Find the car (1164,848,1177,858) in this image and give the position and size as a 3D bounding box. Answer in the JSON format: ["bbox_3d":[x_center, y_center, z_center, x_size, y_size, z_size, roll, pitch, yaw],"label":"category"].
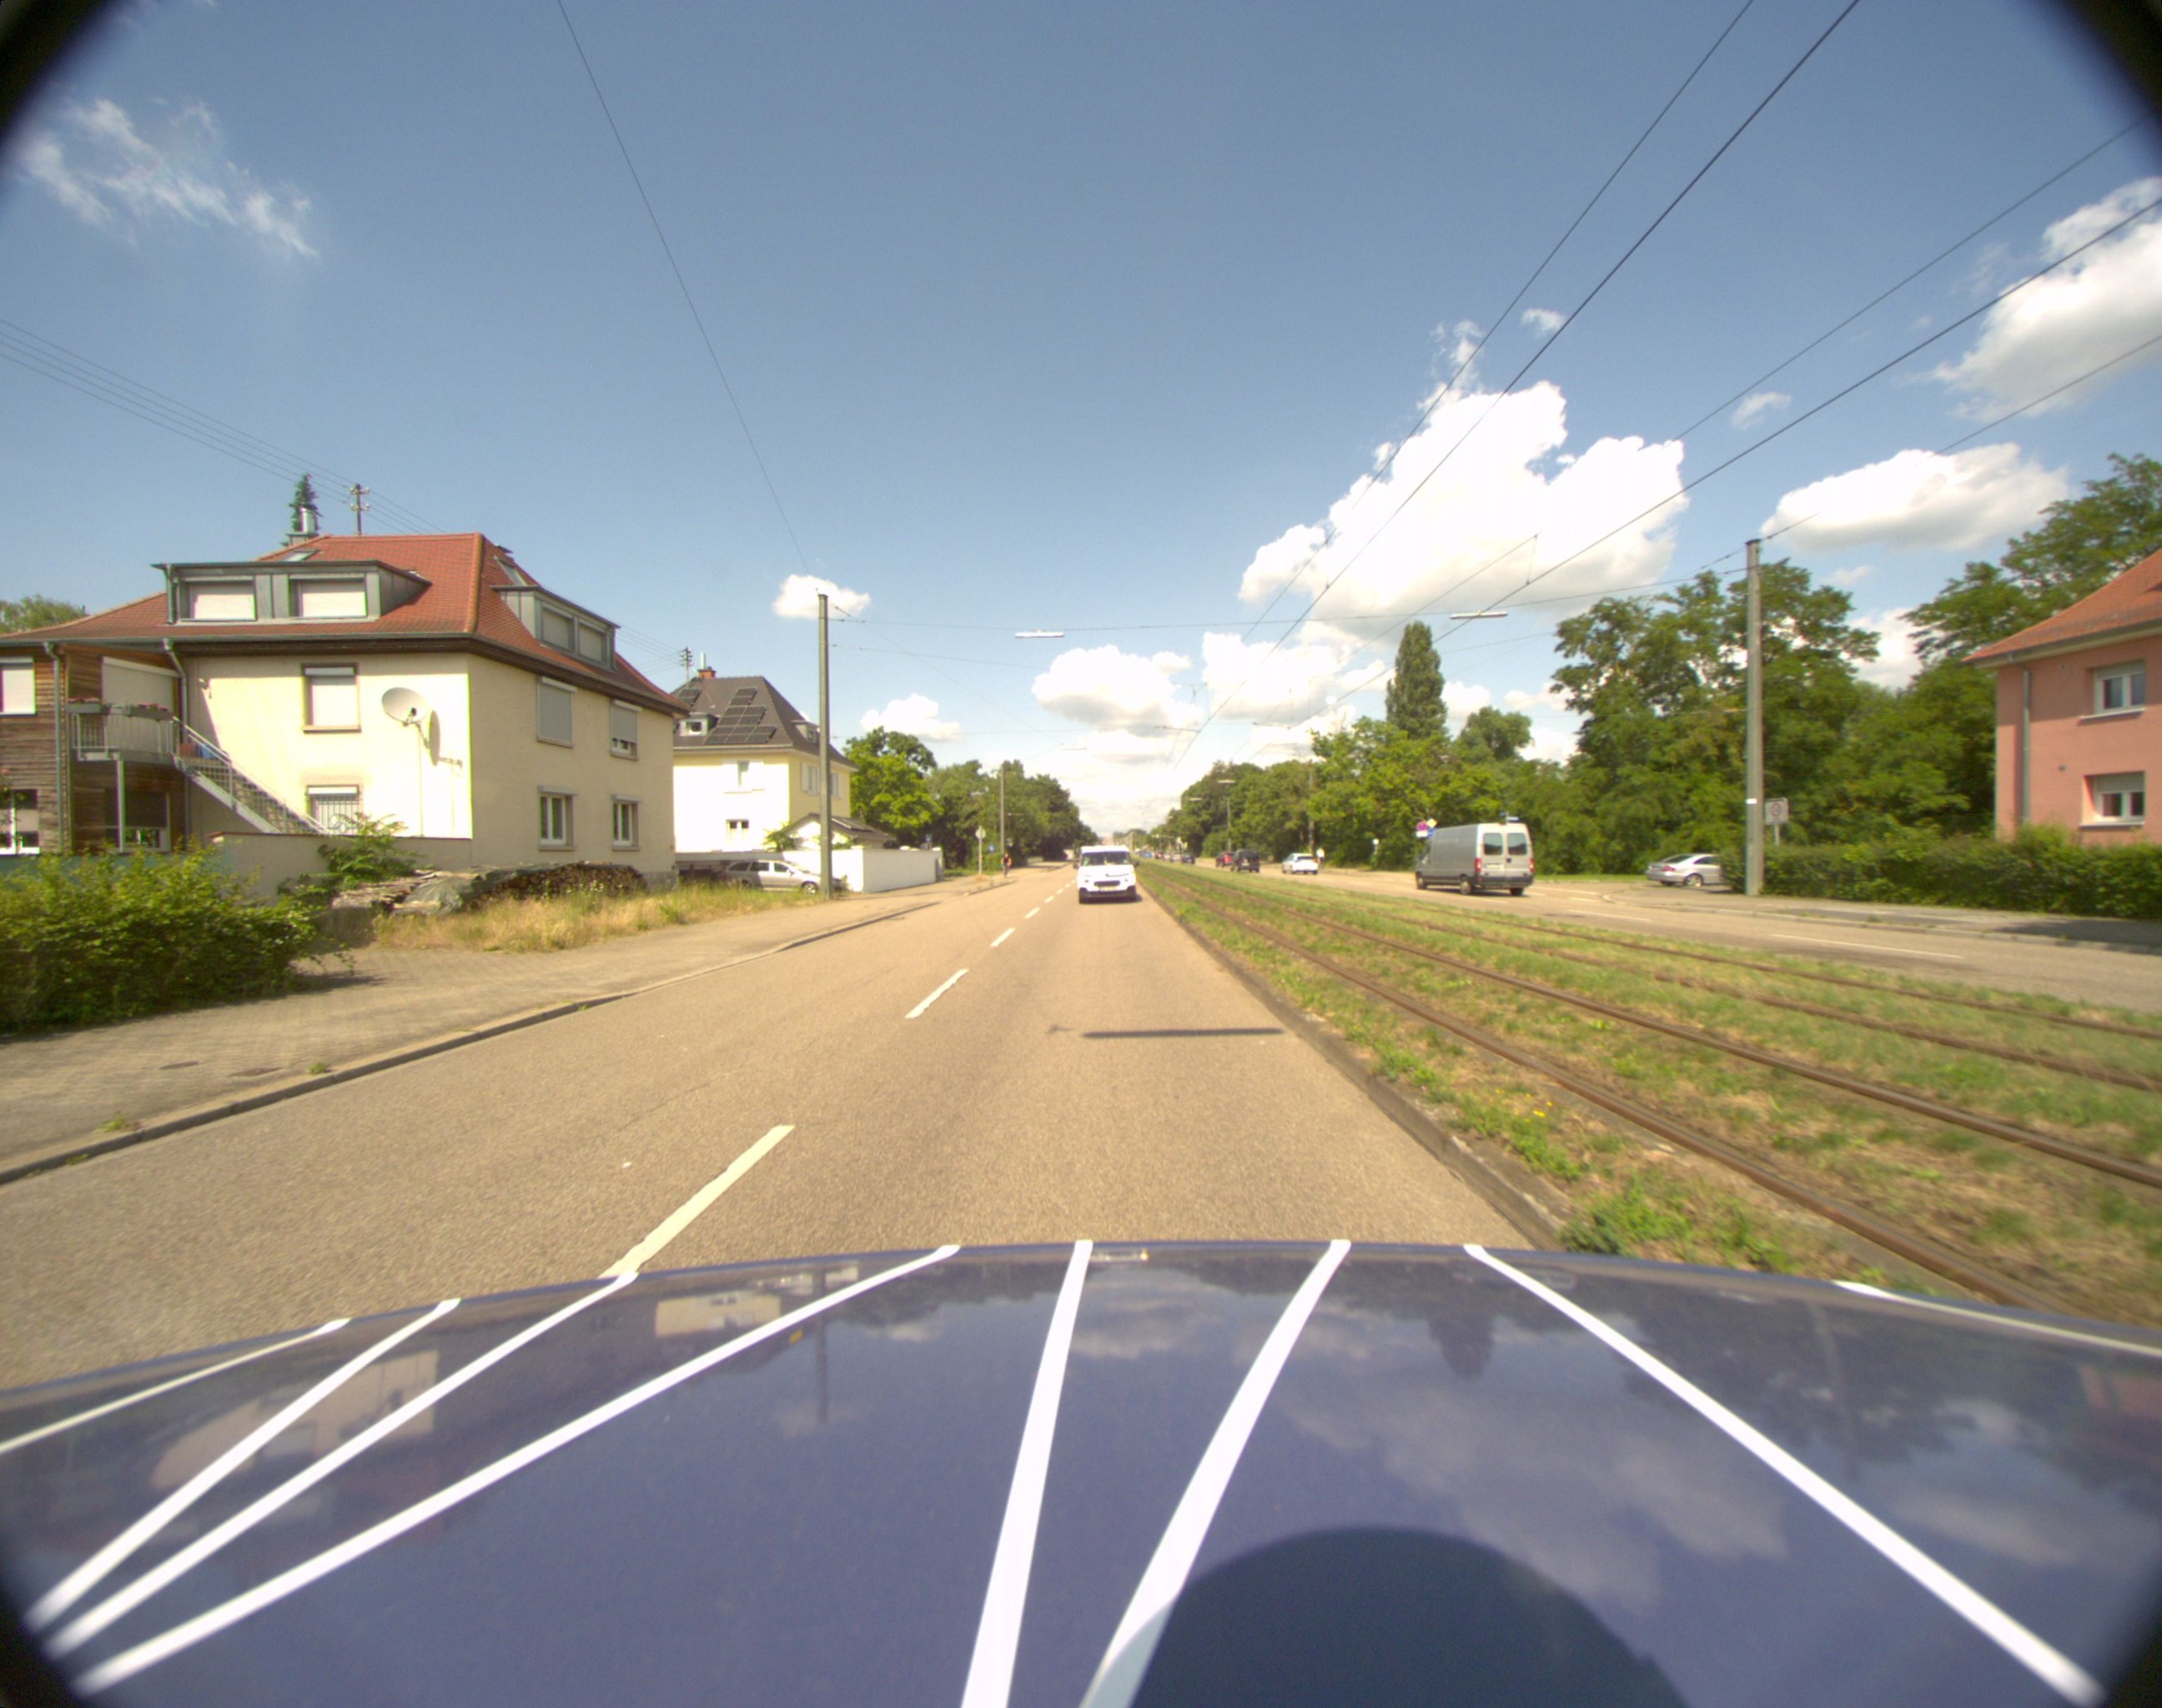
[{"bbox_3d":[15.564,-0.140,132.763,1.921,1.642,4.277,-1,0,3],"label":"car"}]

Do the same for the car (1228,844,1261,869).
[{"bbox_3d":[12.275,0.175,57.271,1.689,1.736,4.227,-1,0,2],"label":"car"}]

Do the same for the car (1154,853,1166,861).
[{"bbox_3d":[15.680,0.608,150.751,2.120,1.642,4.277,-1,0,3],"label":"car"}]

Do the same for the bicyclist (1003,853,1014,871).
[{"bbox_3d":[-5.317,0.584,55.844,0.690,1.345,0.665,-1,1,8],"label":"bicyclist"}]

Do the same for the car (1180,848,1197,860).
[{"bbox_3d":[13.666,-0.003,96.554,1.731,1.386,4.277,-1,0,3],"label":"car"}]

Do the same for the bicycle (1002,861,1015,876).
[{"bbox_3d":[-5.312,1.028,55.922,0.556,1.059,1.524,-1,1,8],"label":"bicycle"}]

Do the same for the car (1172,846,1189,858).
[{"bbox_3d":[14.979,-0.296,114.421,2.120,1.642,4.277,-1,0,3],"label":"car"}]

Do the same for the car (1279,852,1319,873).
[{"bbox_3d":[15.379,0.580,53.712,1.689,1.422,4.276,-1,0,2],"label":"car"}]

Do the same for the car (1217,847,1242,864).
[{"bbox_3d":[15.026,0.144,77.121,1.731,1.570,4.276,-1,0,0],"label":"car"}]

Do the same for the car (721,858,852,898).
[{"bbox_3d":[-11.497,0.916,29.862,4.459,1.452,1.763,0,1,2],"label":"car"}]

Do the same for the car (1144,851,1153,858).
[{"bbox_3d":[17.754,0.066,198.969,2.120,1.642,4.277,-1,0,3],"label":"car"}]

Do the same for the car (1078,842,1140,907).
[{"bbox_3d":[0.825,0.596,24.742,1.777,1.850,4.374,-3,1,0],"label":"car"}]

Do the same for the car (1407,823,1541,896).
[{"bbox_3d":[14.303,0.175,28.171,2.037,2.422,5.777,0,0,1],"label":"car"}]

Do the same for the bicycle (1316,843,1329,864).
[{"bbox_3d":[19.594,-0.046,61.610,0.801,1.675,0.952,-1,1,2],"label":"bicycle"}]

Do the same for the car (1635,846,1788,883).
[{"bbox_3d":[25.971,0.415,31.446,4.466,1.397,2.001,-1,1,9],"label":"car"}]

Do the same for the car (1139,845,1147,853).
[{"bbox_3d":[18.303,-1.510,226.039,1.998,2.002,3.999,-3,1,0],"label":"car"}]

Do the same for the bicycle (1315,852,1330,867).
[{"bbox_3d":[19.605,0.450,61.636,0.643,1.181,1.957,-1,0,3],"label":"bicycle"}]
